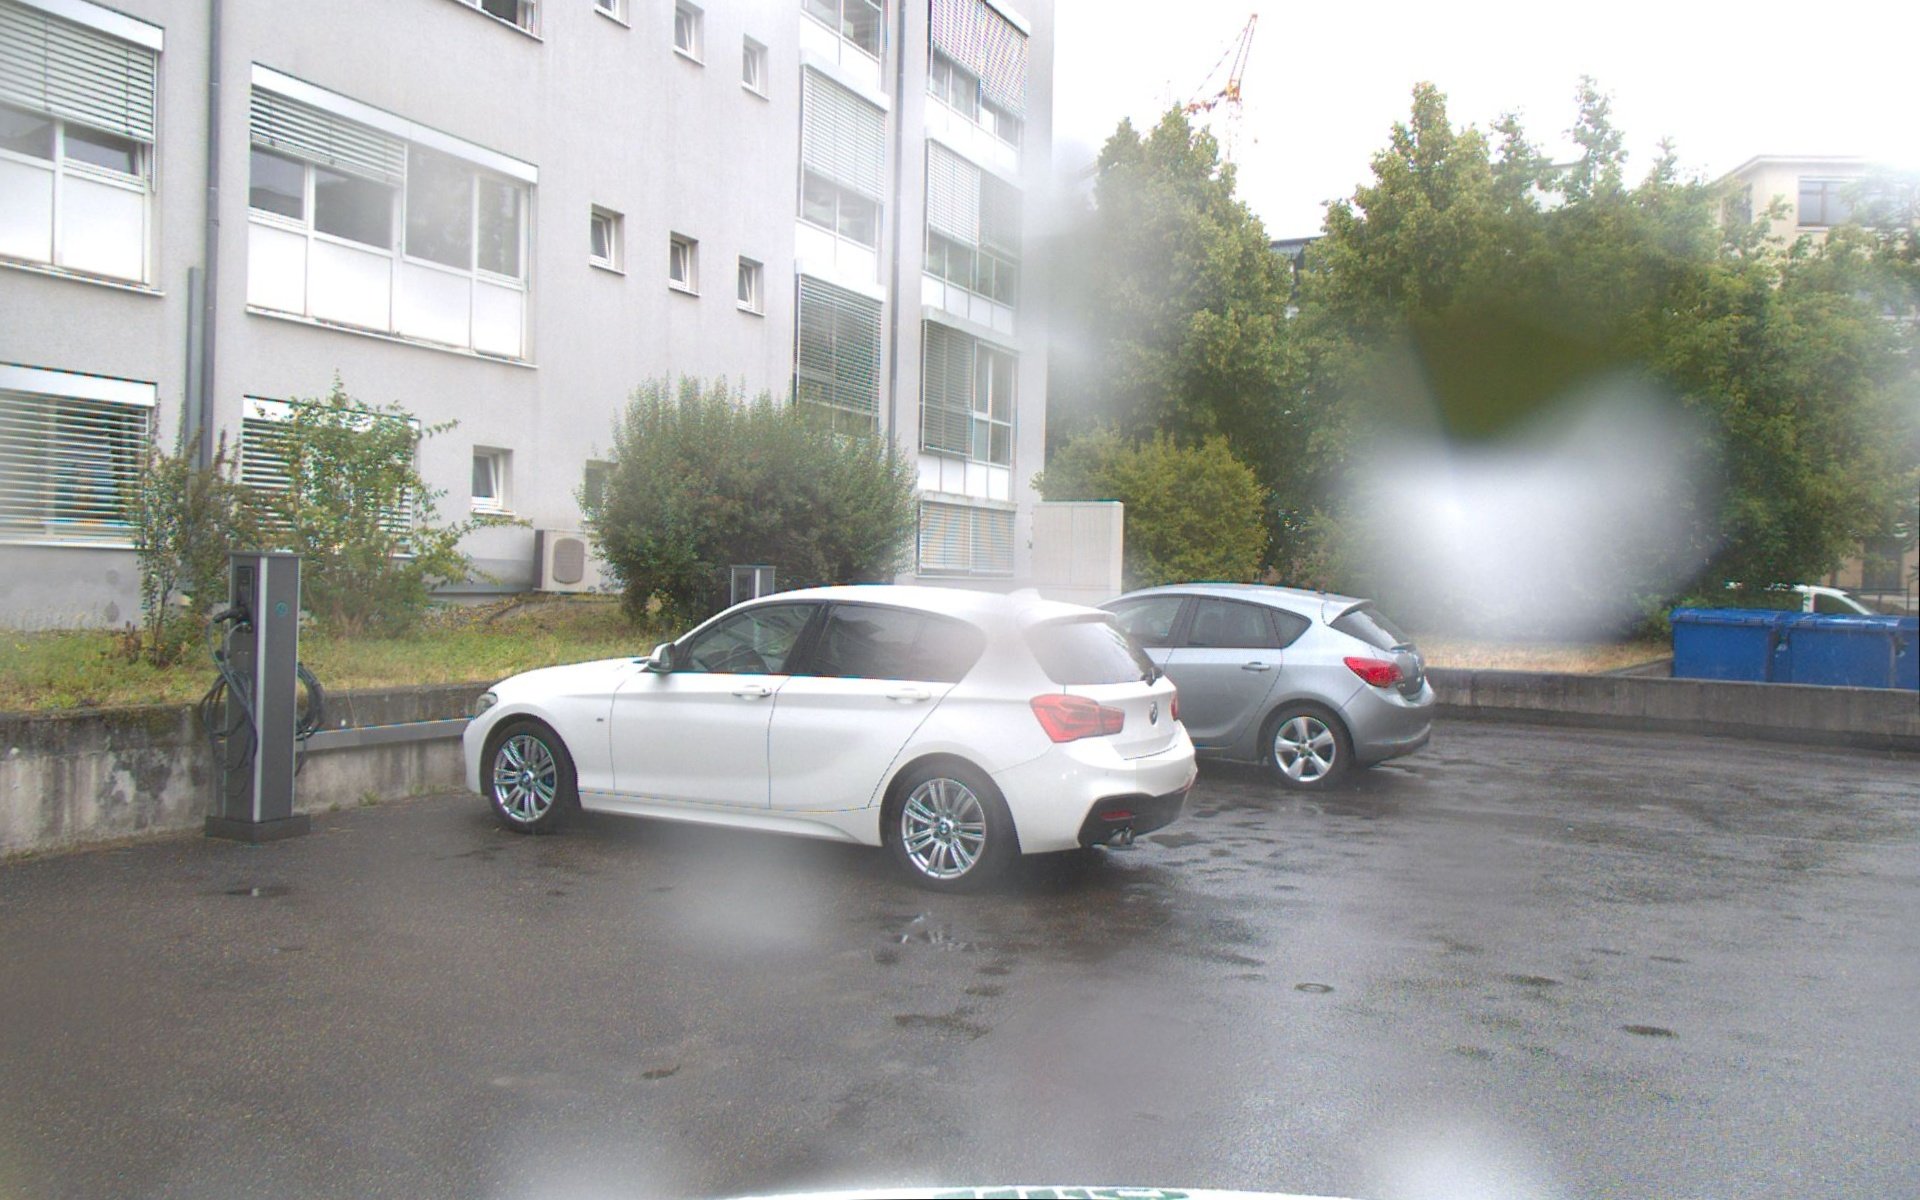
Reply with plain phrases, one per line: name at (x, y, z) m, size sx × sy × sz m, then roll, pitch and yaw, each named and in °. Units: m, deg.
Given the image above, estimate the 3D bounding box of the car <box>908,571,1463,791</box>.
car at (1.862, 0.576, 13.719) m, size 4.126 × 1.515 × 1.998 m, roll 2°, pitch 0°, yaw 27°

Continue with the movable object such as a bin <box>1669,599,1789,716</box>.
movable object such as a bin at (9.676, 0.718, 20.772) m, size 1.206 × 1.382 × 1.966 m, roll 0°, pitch -2°, yaw 30°

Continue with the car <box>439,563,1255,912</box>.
car at (-0.648, 0.610, 9.300) m, size 4.126 × 1.515 × 1.998 m, roll 2°, pitch 0°, yaw 27°

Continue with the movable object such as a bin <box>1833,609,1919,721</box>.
movable object such as a bin at (12.127, 0.841, 21.534) m, size 1.285 × 1.382 × 1.901 m, roll 0°, pitch -2°, yaw 30°

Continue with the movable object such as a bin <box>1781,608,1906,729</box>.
movable object such as a bin at (10.761, 0.816, 20.103) m, size 1.285 × 1.382 × 1.901 m, roll 0°, pitch -2°, yaw 30°

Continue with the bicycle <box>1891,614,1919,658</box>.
bicycle at (27.782, 1.025, 46.603) m, size 2.674 × 1.207 × 0.738 m, roll 1°, pitch 1°, yaw 1°

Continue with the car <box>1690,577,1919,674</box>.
car at (18.215, 0.547, 35.245) m, size 4.599 × 1.915 × 2.117 m, roll 0°, pitch -3°, yaw 33°
